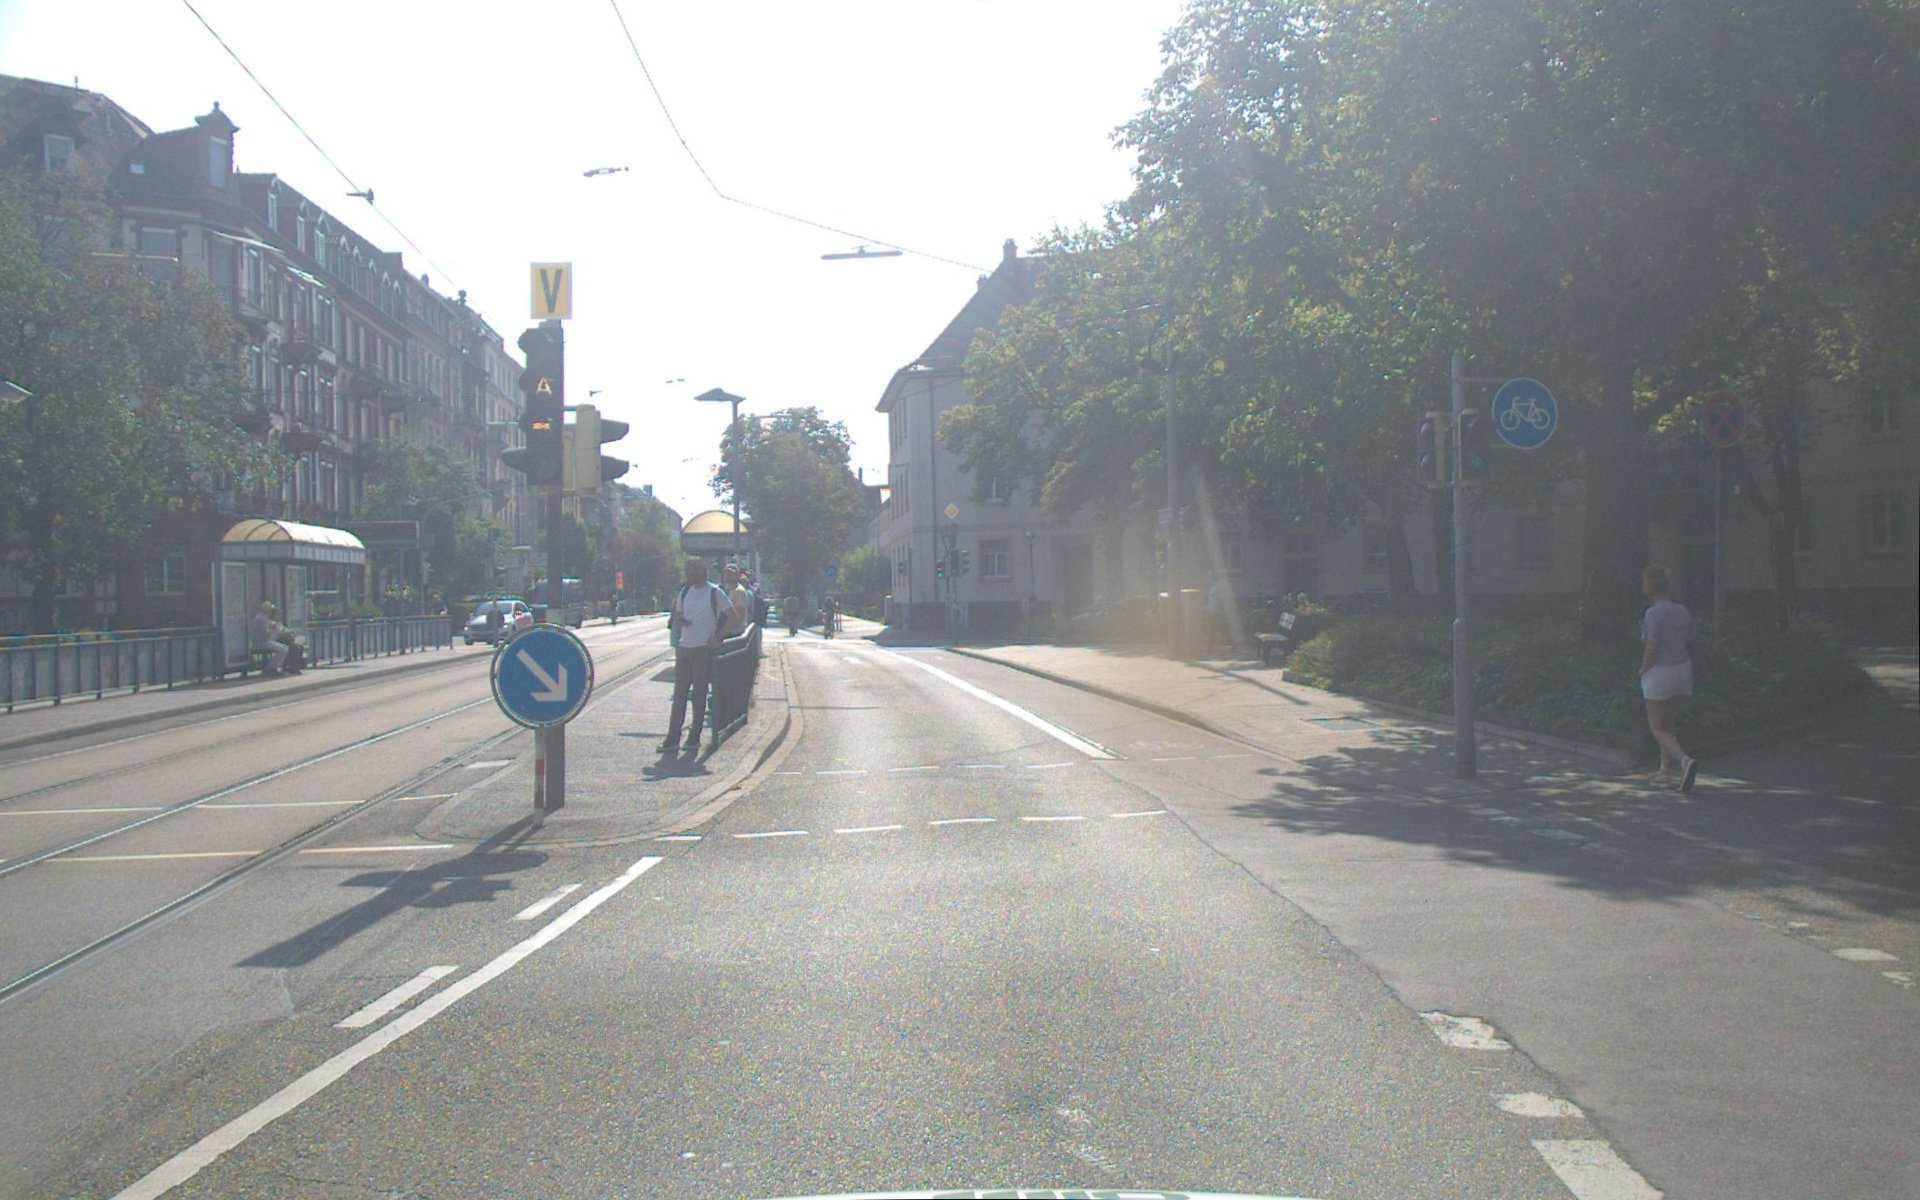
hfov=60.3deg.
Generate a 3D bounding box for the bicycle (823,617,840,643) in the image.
[{"bbox_3d":[-5.072,1.173,65.050,0.547,0.995,1.853,-1,0,-7],"label":"bicycle"}]

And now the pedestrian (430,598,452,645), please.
[{"bbox_3d":[-19.467,0.804,62.041,0.737,1.761,0.768,-1,0,-15],"label":"pedestrian"}]

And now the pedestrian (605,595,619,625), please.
[{"bbox_3d":[-20.680,0.586,98.310,0.737,1.761,0.768,-1,0,-15],"label":"pedestrian"}]

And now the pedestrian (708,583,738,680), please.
[{"bbox_3d":[-4.472,0.588,31.216,0.494,1.790,0.533,1,2,-6],"label":"pedestrian"}]

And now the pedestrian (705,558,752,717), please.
[{"bbox_3d":[-2.774,0.439,19.828,0.494,1.865,0.533,1,2,-6],"label":"pedestrian"}]

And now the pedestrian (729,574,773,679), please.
[{"bbox_3d":[-3.618,0.455,28.677,0.695,1.790,0.533,1,2,-6],"label":"pedestrian"}]

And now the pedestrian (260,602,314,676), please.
[{"bbox_3d":[-13.061,0.749,32.121,0.813,1.382,0.774,-1,0,-11],"label":"pedestrian"}]

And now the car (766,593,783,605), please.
[{"bbox_3d":[-27.558,-0.141,245.826,1.952,1.814,4.000,0,0,1],"label":"car"}]

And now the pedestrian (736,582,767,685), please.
[{"bbox_3d":[-3.691,0.584,29.289,0.494,1.790,0.533,1,2,-6],"label":"pedestrian"}]

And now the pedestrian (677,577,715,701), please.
[{"bbox_3d":[-3.894,0.574,24.432,0.494,1.790,0.533,1,2,-6],"label":"pedestrian"}]

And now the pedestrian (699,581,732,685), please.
[{"bbox_3d":[-4.318,0.581,29.225,0.532,1.790,0.533,1,2,-6],"label":"pedestrian"}]

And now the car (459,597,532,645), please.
[{"bbox_3d":[-17.099,0.761,61.037,1.765,1.682,3.641,-1,0,-2],"label":"car"}]

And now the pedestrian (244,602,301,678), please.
[{"bbox_3d":[-12.937,0.747,31.153,0.813,1.382,0.774,-1,0,-11],"label":"pedestrian"}]

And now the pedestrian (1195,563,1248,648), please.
[{"bbox_3d":[5.549,0.114,35.125,0.874,1.771,0.775,-1,0,29],"label":"pedestrian"}]

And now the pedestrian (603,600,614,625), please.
[{"bbox_3d":[-25.359,0.883,119.228,0.737,1.761,0.768,-1,0,-15],"label":"pedestrian"}]

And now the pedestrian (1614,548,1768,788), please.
[{"bbox_3d":[5.583,0.500,12.667,0.737,1.761,0.768,-1,0,-15],"label":"pedestrian"}]

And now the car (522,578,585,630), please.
[{"bbox_3d":[-22.029,0.223,89.861,2.300,2.708,5.102,-1,0,-2],"label":"car"}]

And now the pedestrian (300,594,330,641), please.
[{"bbox_3d":[-24.709,0.662,63.357,0.735,1.761,0.771,-1,0,24],"label":"pedestrian"}]

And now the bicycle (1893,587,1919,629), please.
[{"bbox_3d":[22.953,0.189,39.354,0.416,0.995,1.552,-1,0,-9],"label":"bicycle"}]

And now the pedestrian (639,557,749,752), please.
[{"bbox_3d":[-2.498,0.487,15.572,0.686,1.755,0.747,2,2,27],"label":"pedestrian"}]

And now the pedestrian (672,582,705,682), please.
[{"bbox_3d":[-5.010,0.585,30.576,0.522,1.790,0.544,1,2,-5],"label":"pedestrian"}]

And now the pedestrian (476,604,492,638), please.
[{"bbox_3d":[-24.516,1.073,85.172,0.737,1.761,0.768,-1,0,-15],"label":"pedestrian"}]

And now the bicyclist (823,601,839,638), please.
[{"bbox_3d":[-5.090,0.753,65.063,0.547,1.441,0.870,-1,0,-8],"label":"bicyclist"}]

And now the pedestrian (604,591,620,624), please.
[{"bbox_3d":[-20.833,0.430,98.916,0.758,1.926,0.893,-1,0,-4],"label":"pedestrian"}]

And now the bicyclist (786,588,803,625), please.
[{"bbox_3d":[-6.890,0.270,68.880,0.617,1.534,0.677,-1,0,-8],"label":"bicyclist"}]

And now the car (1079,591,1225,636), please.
[{"bbox_3d":[6.160,0.448,53.265,4.245,1.343,1.995,-1,0,33],"label":"car"}]

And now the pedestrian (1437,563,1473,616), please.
[{"bbox_3d":[16.706,-0.342,55.863,0.770,1.771,0.880,-1,0,-44],"label":"pedestrian"}]

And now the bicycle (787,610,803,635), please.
[{"bbox_3d":[-6.881,0.938,68.882,0.617,0.995,1.767,-1,0,-8],"label":"bicycle"}]
